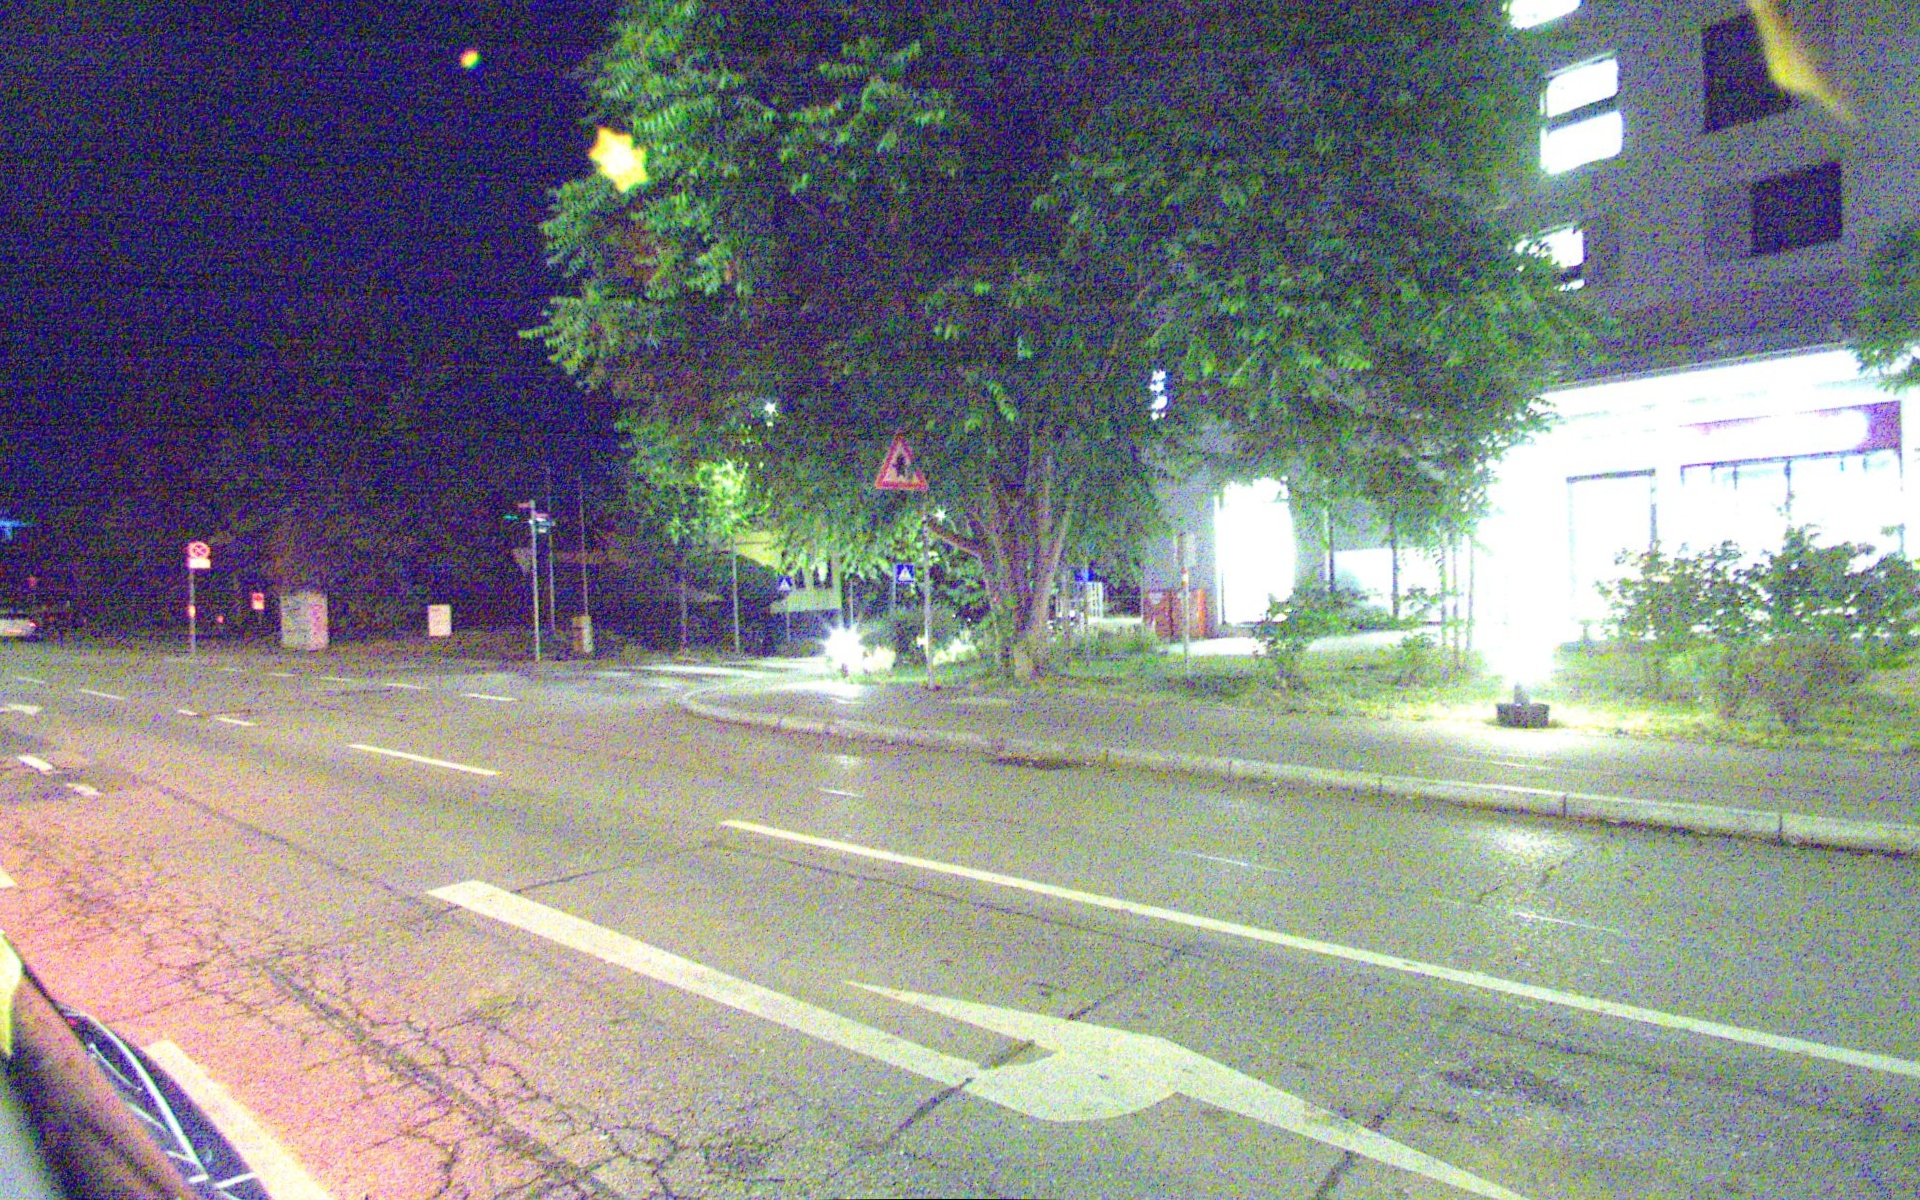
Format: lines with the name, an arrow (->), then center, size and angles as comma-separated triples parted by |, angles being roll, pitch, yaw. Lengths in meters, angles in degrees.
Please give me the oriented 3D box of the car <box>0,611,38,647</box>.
car -> -43.246, 1.298, 45.751 | 3.998, 1.464, 1.887 | 1, 2, 41
